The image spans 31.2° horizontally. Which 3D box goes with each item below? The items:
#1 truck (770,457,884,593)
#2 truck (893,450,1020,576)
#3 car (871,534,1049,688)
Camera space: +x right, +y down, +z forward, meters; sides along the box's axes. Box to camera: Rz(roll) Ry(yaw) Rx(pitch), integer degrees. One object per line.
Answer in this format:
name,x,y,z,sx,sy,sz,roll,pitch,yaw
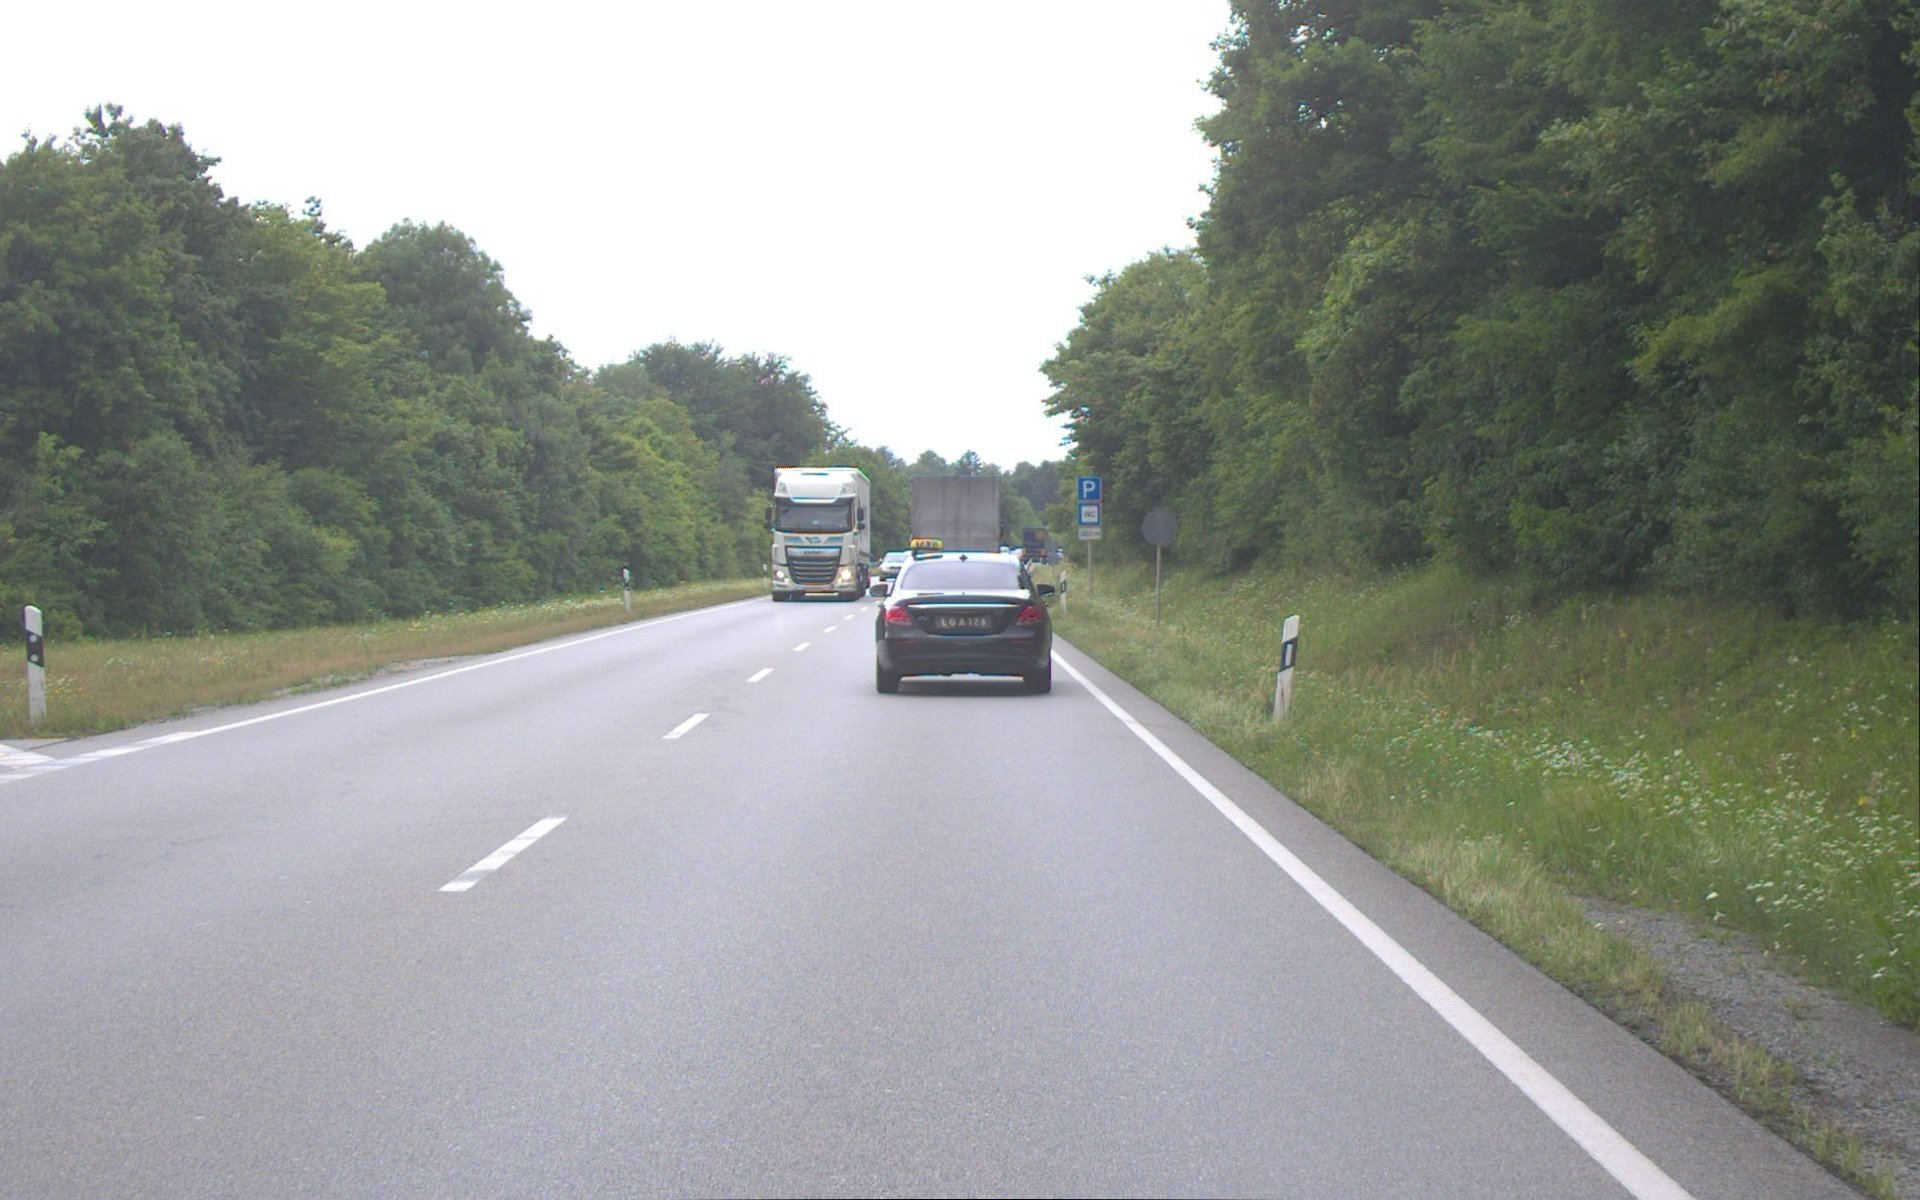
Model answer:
truck,-4.097,-2.296,107.764,3.189,4.048,9.576,1,1,0
truck,0.000,-2.567,104.479,3.281,3.599,11.399,1,1,3
car,-0.039,0.085,36.955,1.791,1.546,4.000,1,1,-1
